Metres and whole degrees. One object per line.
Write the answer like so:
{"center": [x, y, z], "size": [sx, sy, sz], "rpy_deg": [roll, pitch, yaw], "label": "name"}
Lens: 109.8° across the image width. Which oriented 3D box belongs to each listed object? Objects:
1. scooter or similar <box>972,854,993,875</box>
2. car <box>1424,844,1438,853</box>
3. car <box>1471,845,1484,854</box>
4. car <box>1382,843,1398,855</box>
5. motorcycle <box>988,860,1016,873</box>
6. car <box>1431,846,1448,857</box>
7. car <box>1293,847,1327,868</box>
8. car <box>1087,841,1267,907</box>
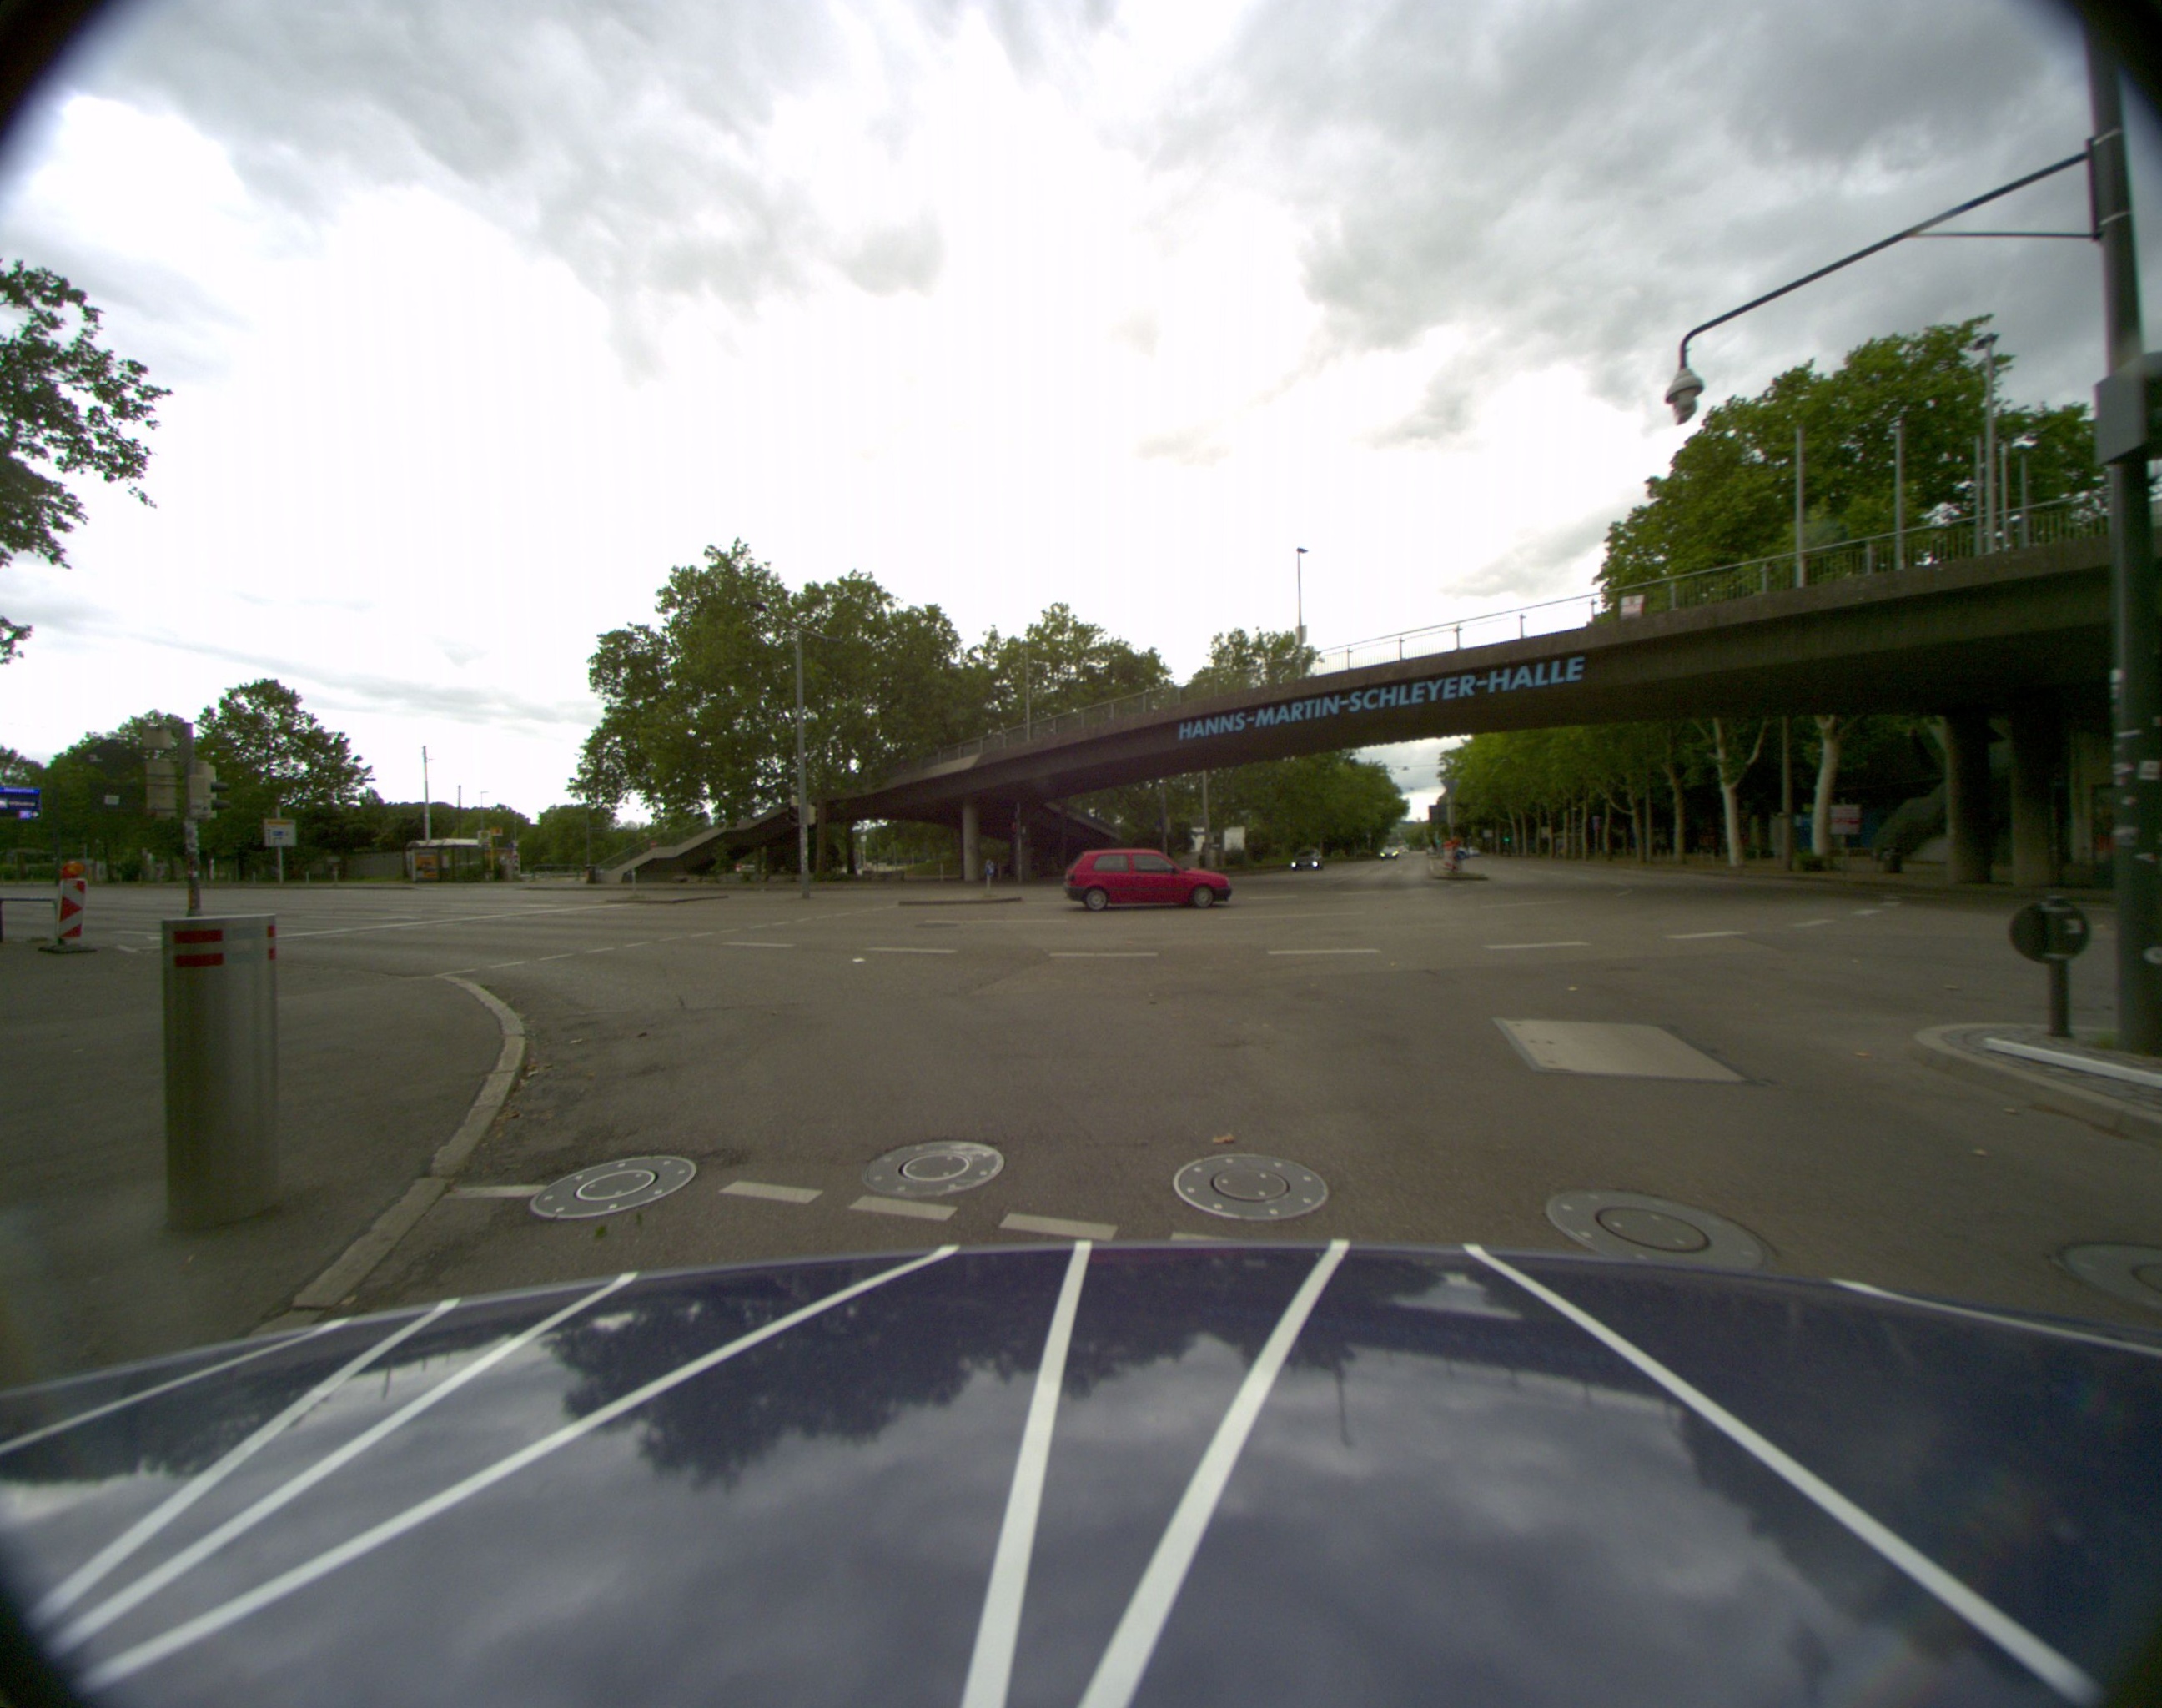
{"center": [-6.166, 0.657, 47.470], "size": [1.224, 1.311, 0.418], "rpy_deg": [2, 1, 22], "label": "scooter or similar"}
{"center": [73.280, -1.157, 159.101], "size": [1.996, 1.650, 4.004], "rpy_deg": [-1, 1, 17], "label": "car"}
{"center": [63.287, -0.747, 121.303], "size": [1.612, 1.305, 3.400], "rpy_deg": [0, 1, 24], "label": "car"}
{"center": [39.424, -0.667, 96.855], "size": [1.759, 1.356, 3.721], "rpy_deg": [0, 2, 24], "label": "car"}
{"center": [-5.232, 0.840, 50.368], "size": [1.733, 0.846, 0.651], "rpy_deg": [-1, 1, 28], "label": "motorcycle"}
{"center": [49.308, -0.386, 104.436], "size": [1.995, 1.410, 4.006], "rpy_deg": [-1, 1, 24], "label": "car"}
{"center": [16.740, 0.237, 55.432], "size": [1.759, 1.314, 3.722], "rpy_deg": [0, 3, 27], "label": "car"}
{"center": [2.225, 0.440, 18.372], "size": [4.074, 1.443, 1.834], "rpy_deg": [-1, 1, -2], "label": "car"}
